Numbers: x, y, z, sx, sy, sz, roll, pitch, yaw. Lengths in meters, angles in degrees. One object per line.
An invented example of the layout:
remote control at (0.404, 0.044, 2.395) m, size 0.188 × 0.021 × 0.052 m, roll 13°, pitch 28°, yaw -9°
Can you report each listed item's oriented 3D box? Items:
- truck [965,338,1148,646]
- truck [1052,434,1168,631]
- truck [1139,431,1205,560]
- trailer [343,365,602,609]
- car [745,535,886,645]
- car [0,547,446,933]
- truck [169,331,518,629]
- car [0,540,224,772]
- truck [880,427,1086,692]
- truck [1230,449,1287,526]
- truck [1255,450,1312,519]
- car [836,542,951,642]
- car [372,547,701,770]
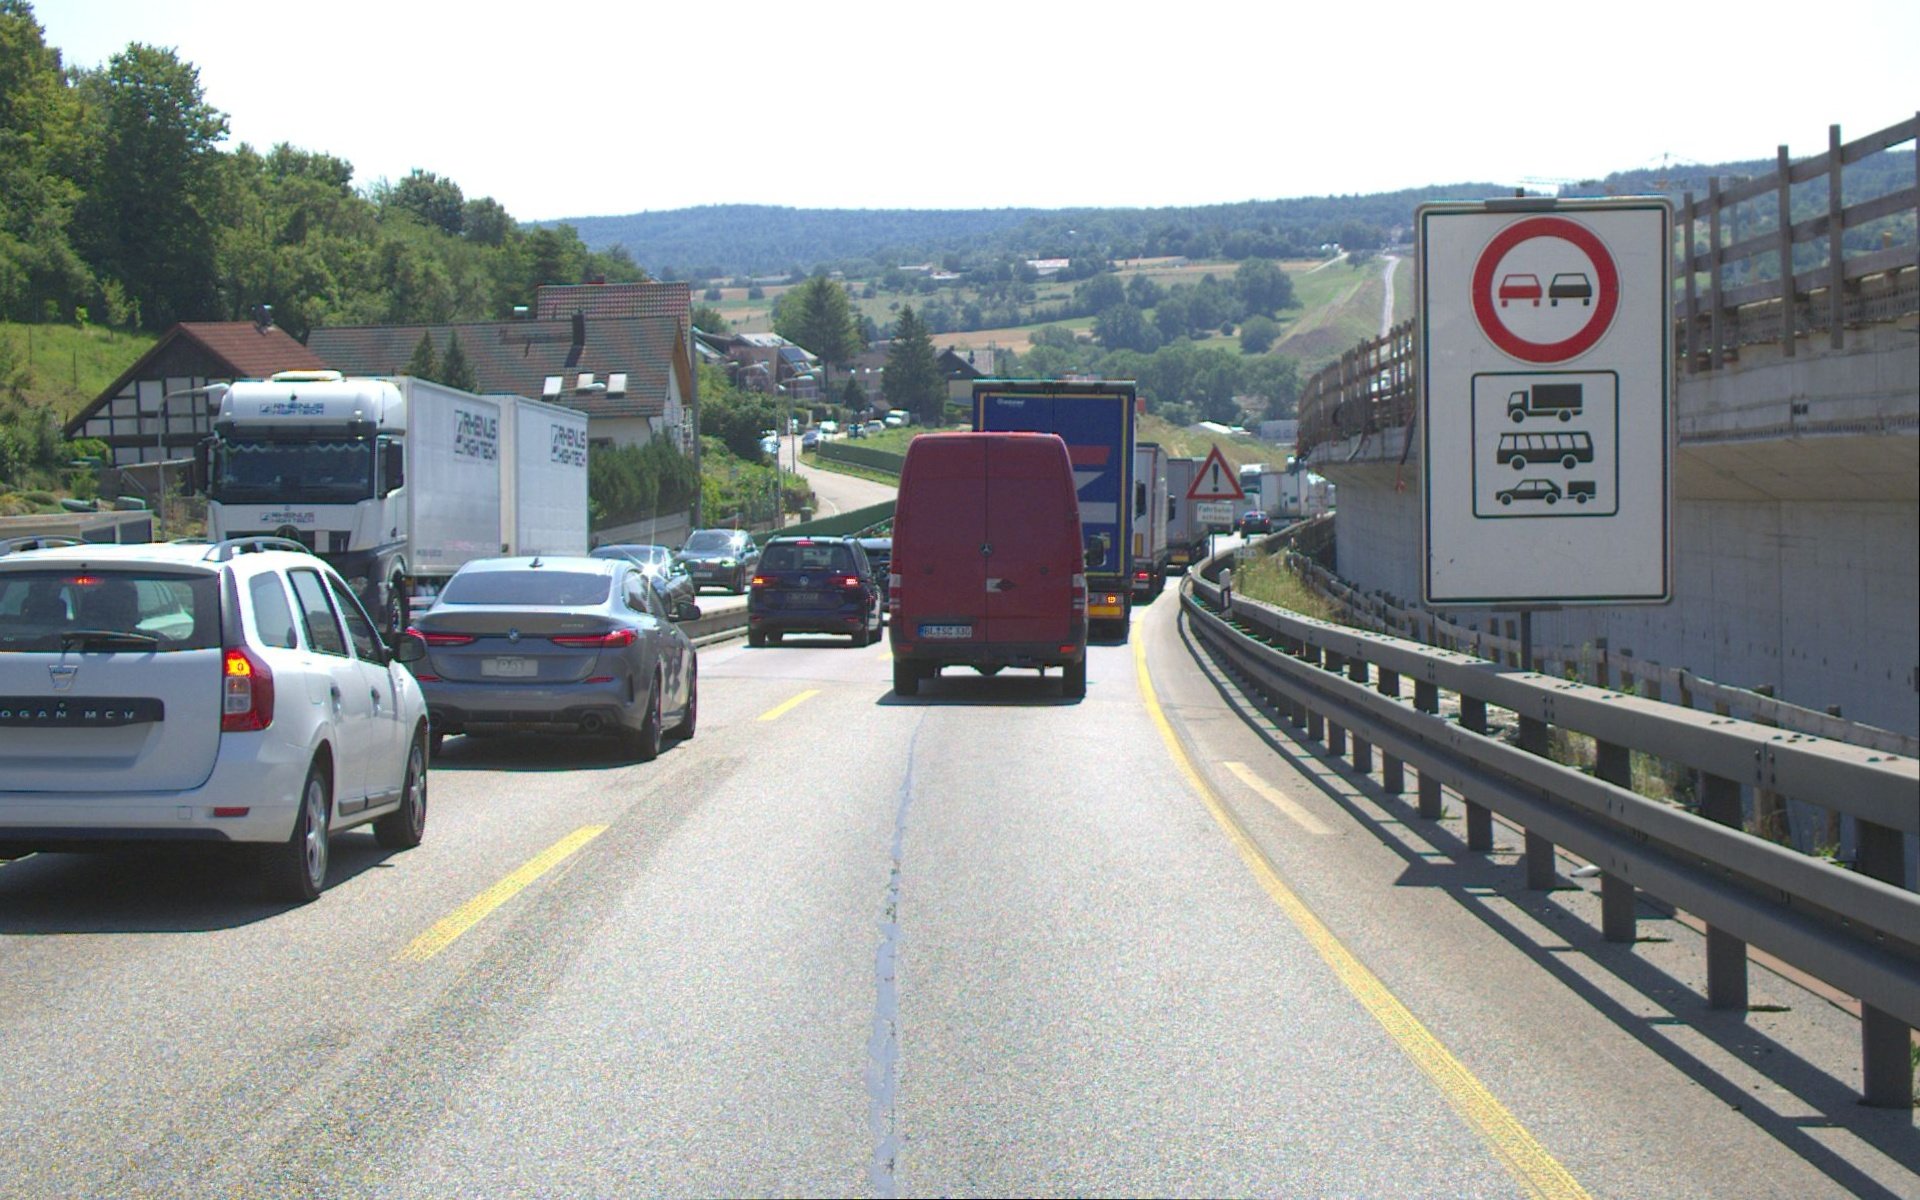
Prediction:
truck at (1.773, -1.687, 58.530) m, size 2.786 × 4.799 × 9.683 m, roll 0°, pitch 0°, yaw 3°
truck at (3.948, -1.635, 88.748) m, size 2.786 × 4.799 × 9.683 m, roll 0°, pitch 0°, yaw 3°
truck at (7.398, -3.593, 119.645) m, size 1.994 × 4.366 × 3.999 m, roll 0°, pitch 0°, yaw 8°
trailer at (-8.774, -1.993, 63.022) m, size 3.004 × 4.151 × 9.016 m, roll 0°, pitch 1°, yaw 3°
car at (-2.151, -0.143, 51.978) m, size 1.810 × 1.602 × 3.719 m, roll 0°, pitch 0°, yaw 3°
car at (-3.529, 0.550, 15.625) m, size 1.651 × 1.478 × 4.266 m, roll -2°, pitch 0°, yaw 1°
truck at (-9.294, -1.789, 53.289) m, size 2.978 × 4.148 × 10.544 m, roll 0°, pitch 1°, yaw 3°
car at (-6.622, 0.364, 24.750) m, size 1.581 × 1.516 × 4.154 m, roll 1°, pitch 0°, yaw 2°
truck at (0.287, -0.391, 35.380) m, size 1.993 × 2.570 × 4.000 m, roll 0°, pitch 0°, yaw 2°
truck at (18.231, -6.809, 209.652) m, size 3.070 × 4.366 × 8.554 m, roll 0°, pitch 0°, yaw 8°
truck at (21.714, -7.689, 230.436) m, size 3.468 × 4.366 × 8.554 m, roll 0°, pitch 0°, yaw 8°
car at (-1.226, -0.145, 65.004) m, size 1.729 × 1.832 × 3.999 m, roll 0°, pitch 0°, yaw 5°
car at (-2.979, 0.367, 24.968) m, size 1.795 × 1.480 × 4.049 m, roll 0°, pitch 1°, yaw 1°
